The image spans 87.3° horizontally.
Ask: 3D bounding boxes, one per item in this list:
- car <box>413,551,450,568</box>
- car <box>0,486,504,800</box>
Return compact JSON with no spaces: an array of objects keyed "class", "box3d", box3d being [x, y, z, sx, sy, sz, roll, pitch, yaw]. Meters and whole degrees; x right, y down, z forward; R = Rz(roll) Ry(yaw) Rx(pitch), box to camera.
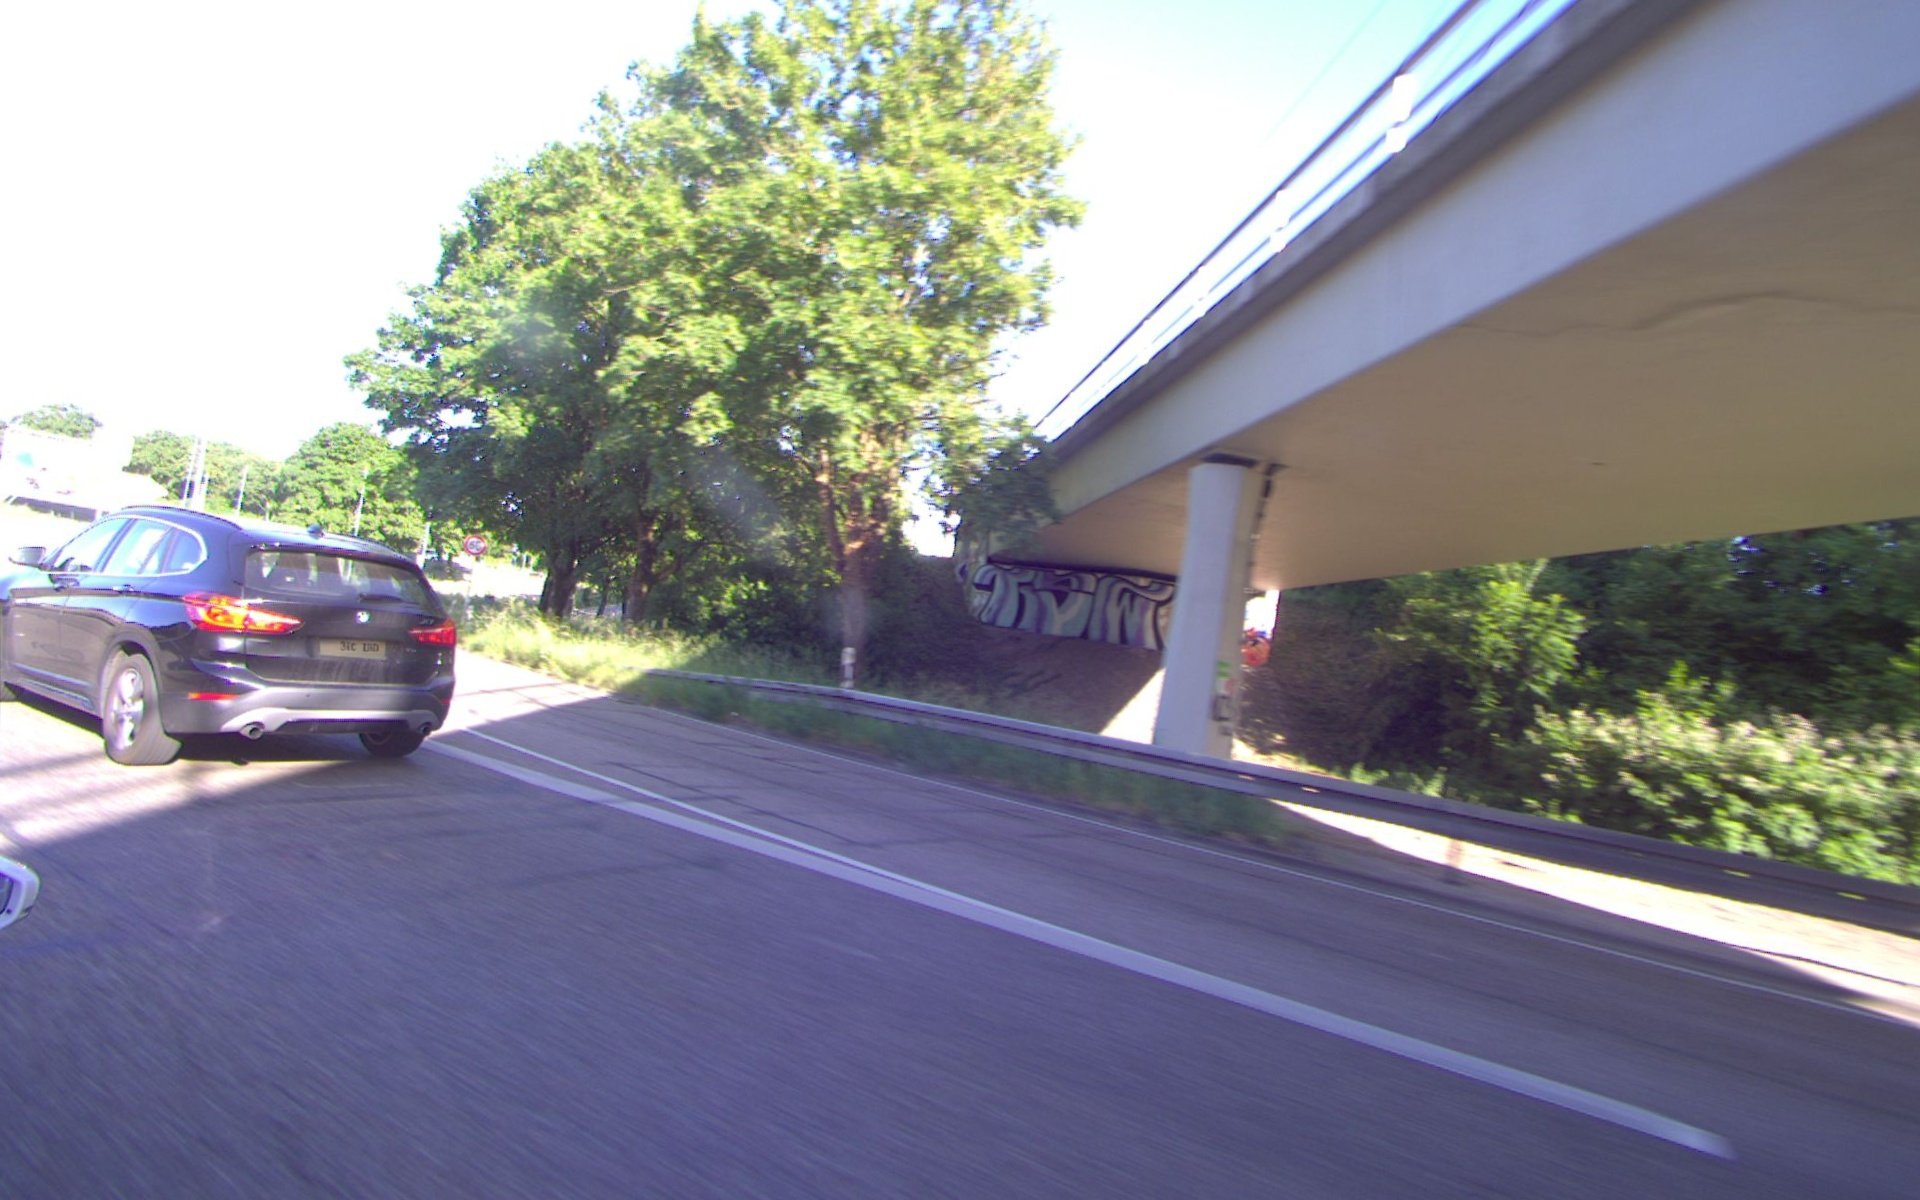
[{"class":"car","box3d":[-71.191,-5.433,135.567,3.925,1.711,1.870,8,-1,4]},{"class":"car","box3d":[-5.642,0.166,7.466,4.445,1.591,1.759,7,-1,31]}]
